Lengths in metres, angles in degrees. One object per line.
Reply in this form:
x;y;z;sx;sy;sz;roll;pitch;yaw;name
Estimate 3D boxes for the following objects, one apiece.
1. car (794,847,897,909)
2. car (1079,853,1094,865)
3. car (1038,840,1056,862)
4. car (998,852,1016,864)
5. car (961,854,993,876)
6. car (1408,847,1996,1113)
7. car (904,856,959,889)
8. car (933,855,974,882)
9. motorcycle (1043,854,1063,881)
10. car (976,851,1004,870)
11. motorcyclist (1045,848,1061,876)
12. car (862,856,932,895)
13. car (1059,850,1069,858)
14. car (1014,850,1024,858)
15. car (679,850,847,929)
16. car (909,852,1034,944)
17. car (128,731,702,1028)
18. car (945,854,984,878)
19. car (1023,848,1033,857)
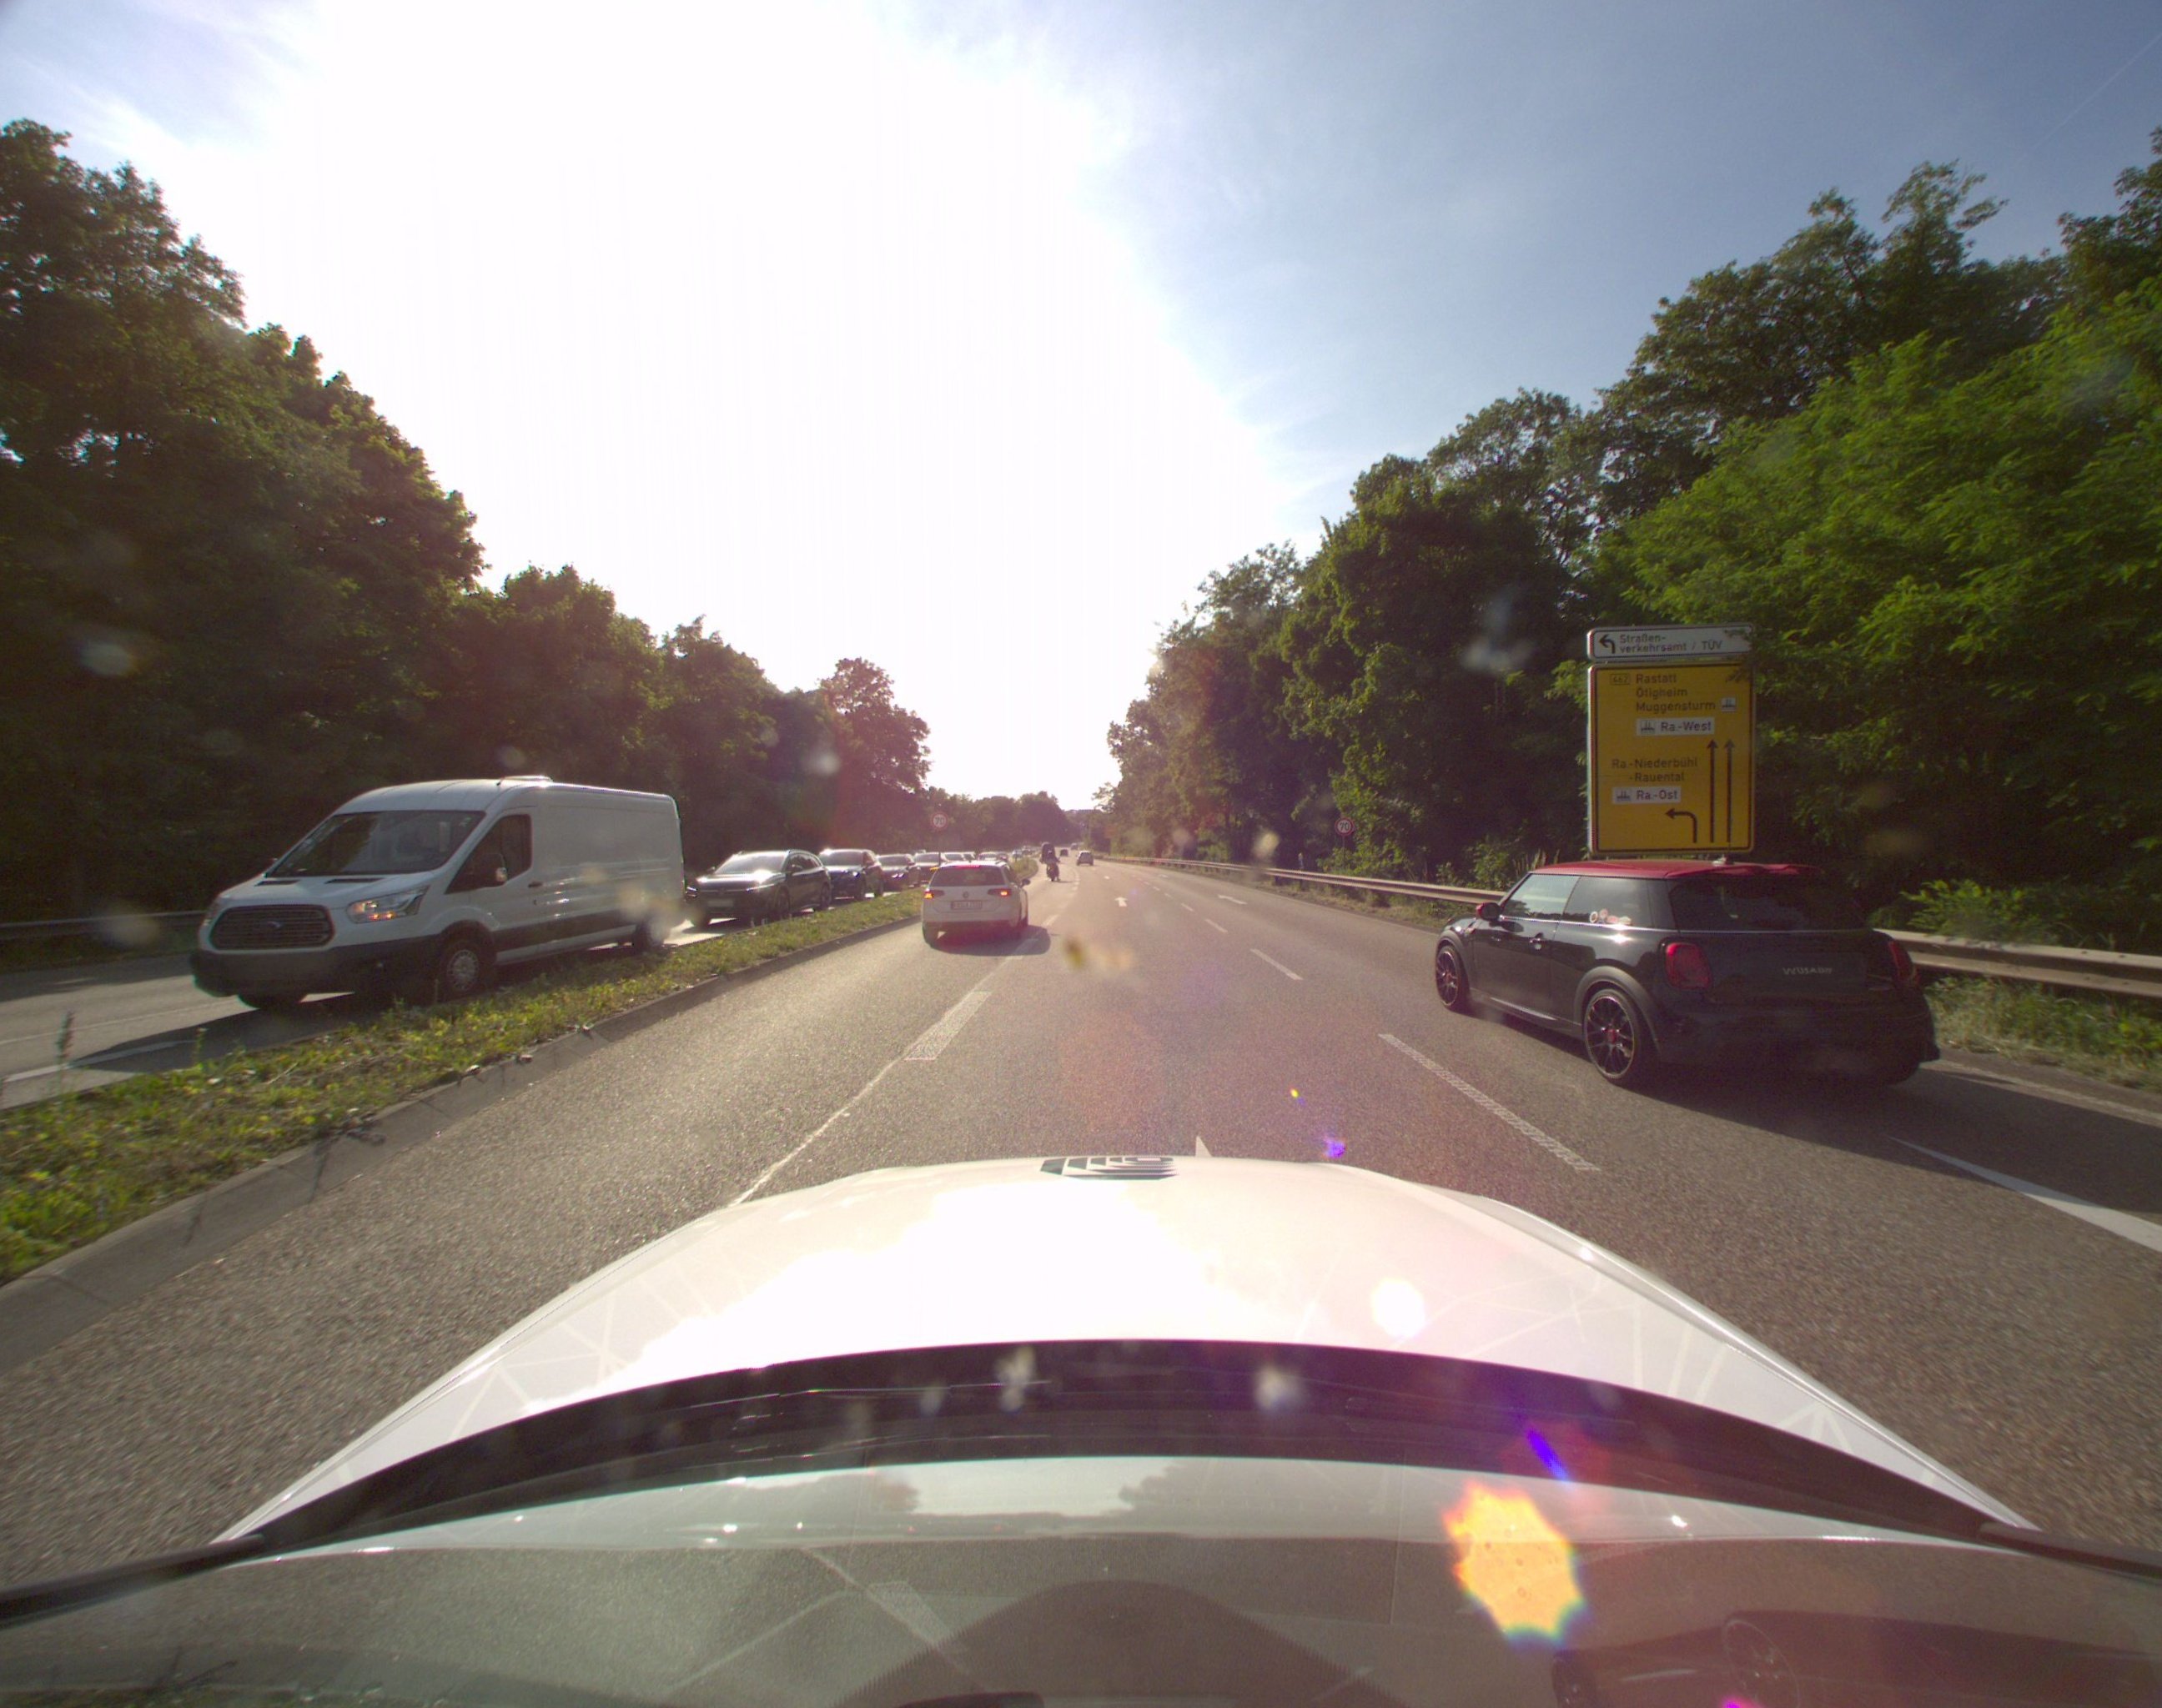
-7.162;0.648;25.260;1.766;1.669;4.799;-2;1;0;car
0.683;0.548;95.425;1.755;1.380;3.972;1;0;0;car
-4.837;-0.474;115.853;2.203;2.888;7.009;-2;0;0;car
-11.410;0.608;125.993;2.096;1.708;6.224;-2;1;0;car
-7.547;0.773;59.464;1.761;1.417;4.433;-2;1;0;car
4.255;0.690;6.503;1.813;1.467;3.874;1;0;1;car
-7.369;0.890;40.552;1.766;1.423;5.191;-2;1;0;car
-7.383;0.820;47.551;1.701;1.423;4.210;-2;1;0;car
-1.641;0.770;47.489;0.905;1.453;2.690;-4;1;2;motorcycle
-7.726;0.531;69.599;1.862;1.417;4.415;-2;1;0;car
-1.623;0.466;47.418;0.880;1.616;1.291;1;0;1;motorcyclist
-7.410;0.821;33.271;1.766;1.379;4.842;-2;1;0;car
-3.510;-0.023;165.845;1.741;1.537;3.920;1;0;-5;car
-11.819;-0.062;154.908;1.784;1.411;4.222;1;0;-3;car
-6.943;0.679;18.465;1.754;1.456;5.184;-2;1;0;car
-2.034;0.755;16.487;1.864;1.521;4.833;1;1;0;car
-7.246;0.191;10.203;2.068;2.533;6.162;-2;0;0;car
-7.539;0.751;53.212;1.761;1.423;5.192;-2;1;0;car
-11.449;-0.342;176.307;2.071;1.763;4.751;-2;1;-3;car
